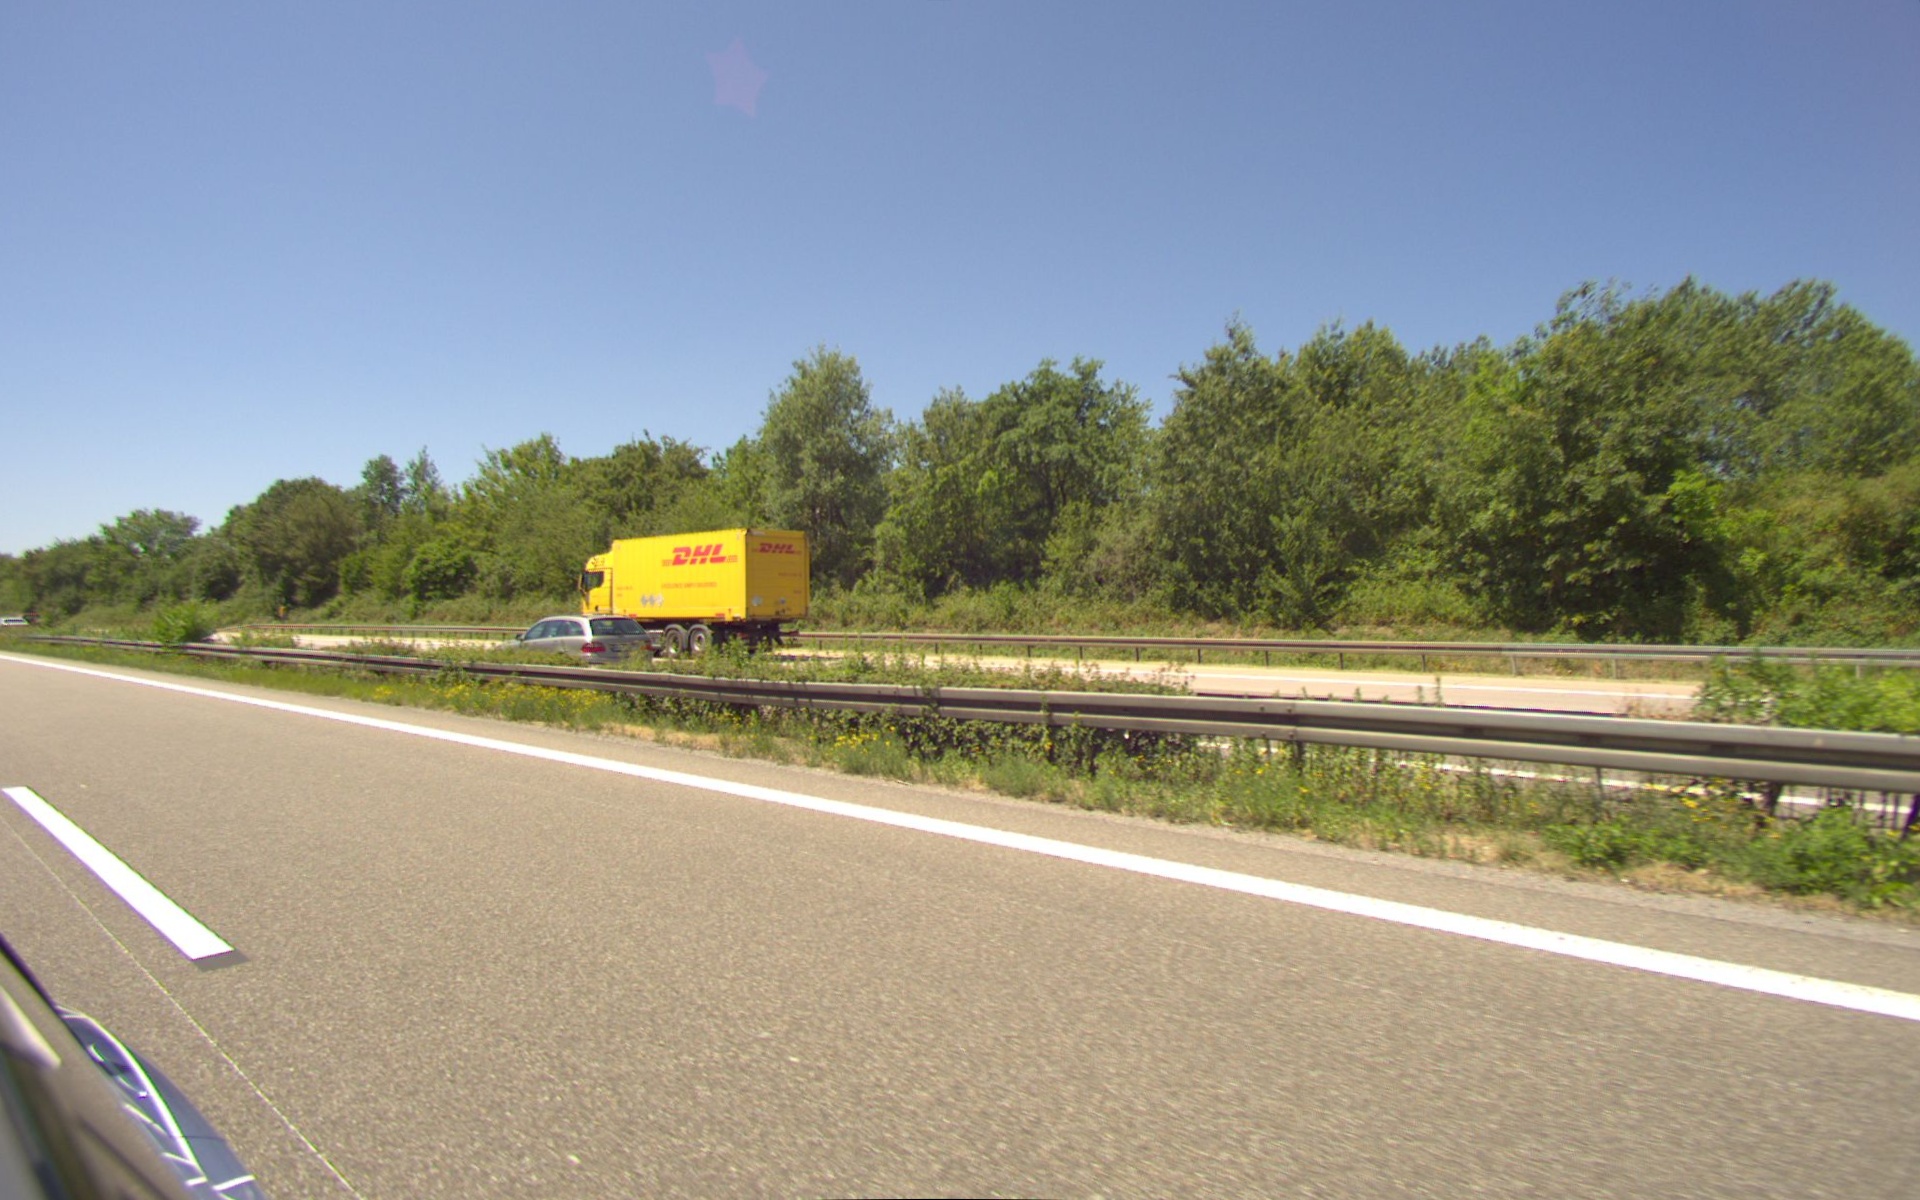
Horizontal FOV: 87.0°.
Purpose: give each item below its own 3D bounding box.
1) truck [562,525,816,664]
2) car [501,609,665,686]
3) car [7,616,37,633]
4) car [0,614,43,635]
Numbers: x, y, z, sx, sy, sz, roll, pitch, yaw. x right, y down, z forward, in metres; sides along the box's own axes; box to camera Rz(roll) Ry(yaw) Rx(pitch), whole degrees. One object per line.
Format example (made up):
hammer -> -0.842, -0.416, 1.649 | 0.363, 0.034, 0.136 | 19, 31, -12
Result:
truck -> -9.484, -0.152, 34.260 | 10.786, 4.070, 2.721 | 0, 0, 41
car -> -8.543, 1.015, 22.819 | 3.978, 1.583, 1.764 | -1, -1, 40
car -> -101.219, 2.625, 109.183 | 4.761, 1.790, 1.687 | -1, -1, 39
car -> -70.861, 1.854, 76.291 | 4.914, 1.547, 1.820 | -1, -1, 39
